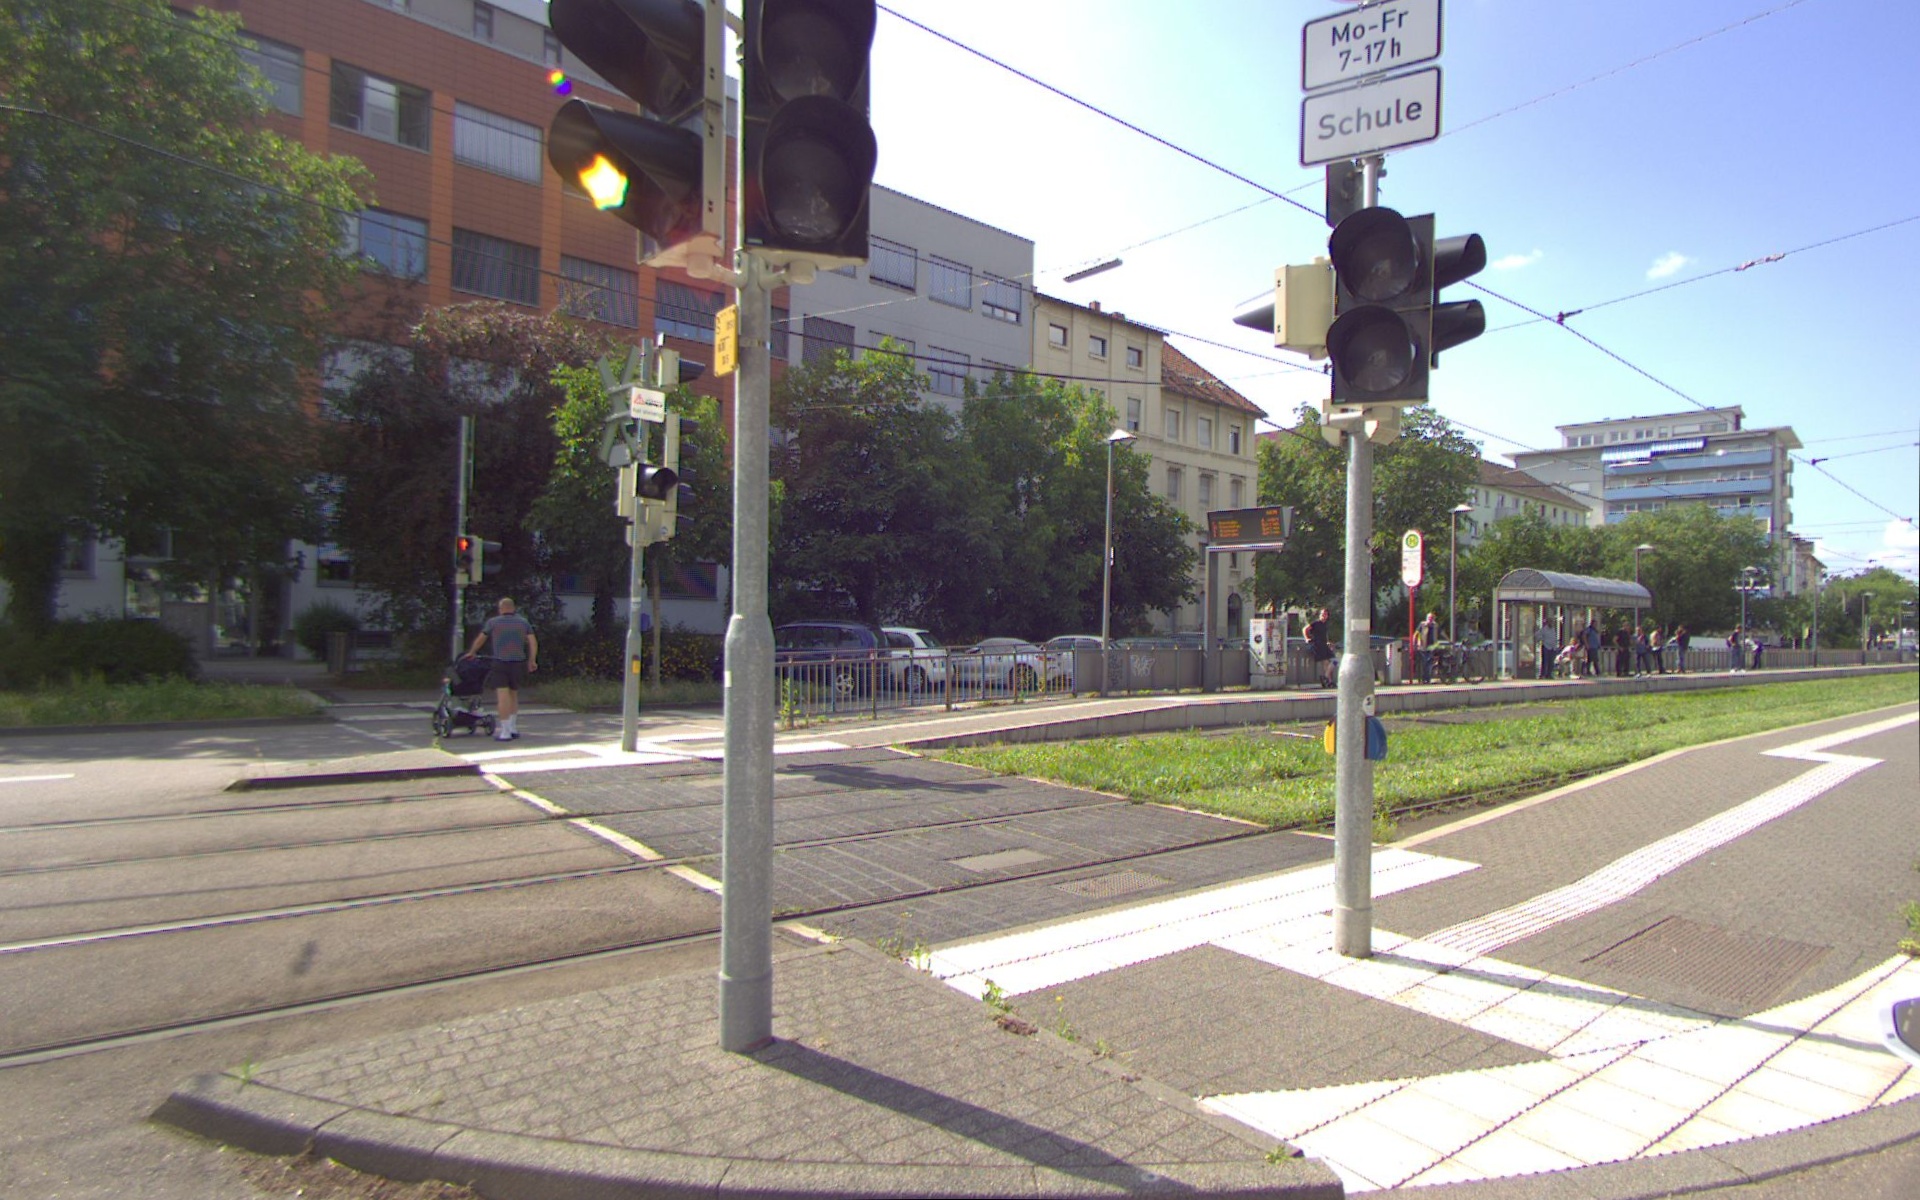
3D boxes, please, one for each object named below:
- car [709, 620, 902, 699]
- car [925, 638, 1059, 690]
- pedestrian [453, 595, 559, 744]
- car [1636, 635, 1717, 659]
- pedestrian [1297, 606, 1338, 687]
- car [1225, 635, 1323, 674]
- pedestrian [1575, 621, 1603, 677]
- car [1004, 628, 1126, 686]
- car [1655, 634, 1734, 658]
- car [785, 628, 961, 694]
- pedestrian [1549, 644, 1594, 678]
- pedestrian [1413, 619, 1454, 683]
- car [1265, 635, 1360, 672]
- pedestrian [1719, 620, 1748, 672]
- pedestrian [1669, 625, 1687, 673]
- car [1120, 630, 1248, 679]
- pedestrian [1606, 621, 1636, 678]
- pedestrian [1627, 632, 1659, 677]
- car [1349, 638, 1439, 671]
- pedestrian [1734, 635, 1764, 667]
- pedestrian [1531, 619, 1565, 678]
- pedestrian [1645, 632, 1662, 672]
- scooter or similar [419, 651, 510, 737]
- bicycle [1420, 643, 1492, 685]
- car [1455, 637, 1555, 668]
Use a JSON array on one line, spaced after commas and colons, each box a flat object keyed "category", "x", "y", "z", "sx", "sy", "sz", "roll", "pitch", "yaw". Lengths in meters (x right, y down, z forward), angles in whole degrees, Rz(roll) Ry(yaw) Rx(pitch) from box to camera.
[{"category": "car", "x": -3.542, "y": 1.343, "z": 23.291, "sx": 4.049, "sy": 1.662, "sz": 1.727, "roll": 1, "pitch": -1, "yaw": 12}, {"category": "car", "x": 0.880, "y": 1.676, "z": 26.807, "sx": 3.320, "sy": 1.252, "sz": 1.545, "roll": 1, "pitch": -1, "yaw": 12}, {"category": "pedestrian", "x": -5.774, "y": 0.869, "z": 12.787, "sx": 0.996, "sy": 1.798, "sz": 0.863, "roll": 2, "pitch": -3, "yaw": -43}, {"category": "car", "x": 45.695, "y": 2.971, "z": 64.136, "sx": 3.919, "sy": 1.404, "sz": 1.640, "roll": 1, "pitch": -1, "yaw": 6}, {"category": "pedestrian", "x": 7.937, "y": 1.019, "z": 22.324, "sx": 0.654, "sy": 1.749, "sz": 0.714, "roll": 1, "pitch": -1, "yaw": 3}, {"category": "car", "x": 11.457, "y": 1.963, "z": 36.783, "sx": 3.181, "sy": 1.326, "sz": 1.457, "roll": 1, "pitch": -1, "yaw": 3}, {"category": "pedestrian", "x": 20.053, "y": 1.550, "z": 32.023, "sx": 0.551, "sy": 1.759, "sz": 0.590, "roll": 2, "pitch": -2, "yaw": -34}, {"category": "car", "x": 3.057, "y": 1.620, "z": 29.017, "sx": 3.320, "sy": 1.525, "sz": 1.545, "roll": 1, "pitch": -2, "yaw": 14}, {"category": "car", "x": 49.492, "y": 3.100, "z": 67.739, "sx": 3.920, "sy": 1.466, "sz": 1.729, "roll": 1, "pitch": -1, "yaw": 17}, {"category": "car", "x": -2.152, "y": 1.501, "z": 25.319, "sx": 4.049, "sy": 1.519, "sz": 1.727, "roll": 1, "pitch": -1, "yaw": 12}, {"category": "pedestrian", "x": 18.366, "y": 1.832, "z": 30.174, "sx": 0.790, "sy": 1.001, "sz": 0.918, "roll": 4, "pitch": -4, "yaw": -36}, {"category": "pedestrian", "x": 11.911, "y": 1.286, "z": 25.284, "sx": 0.678, "sy": 1.590, "sz": 0.660, "roll": 2, "pitch": -3, "yaw": -31}, {"category": "car", "x": 13.627, "y": 2.062, "z": 38.952, "sx": 3.181, "sy": 1.326, "sz": 1.457, "roll": 1, "pitch": -1, "yaw": 5}, {"category": "pedestrian", "x": 30.856, "y": 1.834, "z": 40.075, "sx": 0.656, "sy": 2.040, "sz": 0.795, "roll": 2, "pitch": -1, "yaw": -36}, {"category": "pedestrian", "x": 26.129, "y": 1.776, "z": 36.564, "sx": 0.482, "sy": 1.735, "sz": 0.461, "roll": -1, "pitch": -2, "yaw": 41}, {"category": "car", "x": 7.180, "y": 1.736, "z": 32.345, "sx": 3.919, "sy": 1.476, "sz": 1.692, "roll": 0, "pitch": -2, "yaw": 11}, {"category": "pedestrian", "x": 21.224, "y": 1.588, "z": 32.248, "sx": 0.631, "sy": 1.789, "sz": 0.601, "roll": 2, "pitch": -1, "yaw": -30}, {"category": "pedestrian", "x": 21.977, "y": 1.744, "z": 32.332, "sx": 0.552, "sy": 1.444, "sz": 0.656, "roll": 1, "pitch": -2, "yaw": -2}, {"category": "car", "x": 18.300, "y": 2.286, "z": 42.419, "sx": 3.181, "sy": 1.326, "sz": 1.457, "roll": 1, "pitch": -1, "yaw": 5}, {"category": "pedestrian", "x": 36.042, "y": 2.338, "z": 45.902, "sx": 1.016, "sy": 1.456, "sz": 0.701, "roll": -2, "pitch": -2, "yaw": 37}, {"category": "pedestrian", "x": 17.126, "y": 1.406, "z": 29.264, "sx": 0.651, "sy": 1.714, "sz": 0.650, "roll": 2, "pitch": -2, "yaw": -38}, {"category": "pedestrian", "x": 25.694, "y": 1.935, "z": 37.220, "sx": 0.482, "sy": 1.471, "sz": 0.461, "roll": -1, "pitch": -2, "yaw": 41}, {"category": "scooter or similar", "x": -6.555, "y": 1.220, "z": 13.289, "sx": 0.944, "sy": 1.078, "sz": 0.792, "roll": -3, "pitch": -4, "yaw": 43}, {"category": "bicycle", "x": 12.167, "y": 1.558, "z": 24.627, "sx": 1.750, "sy": 0.987, "sz": 0.683, "roll": 1, "pitch": -4, "yaw": -30}, {"category": "car", "x": 26.202, "y": 2.509, "z": 48.404, "sx": 3.919, "sy": 1.385, "sz": 1.718, "roll": 0, "pitch": -2, "yaw": 10}]
